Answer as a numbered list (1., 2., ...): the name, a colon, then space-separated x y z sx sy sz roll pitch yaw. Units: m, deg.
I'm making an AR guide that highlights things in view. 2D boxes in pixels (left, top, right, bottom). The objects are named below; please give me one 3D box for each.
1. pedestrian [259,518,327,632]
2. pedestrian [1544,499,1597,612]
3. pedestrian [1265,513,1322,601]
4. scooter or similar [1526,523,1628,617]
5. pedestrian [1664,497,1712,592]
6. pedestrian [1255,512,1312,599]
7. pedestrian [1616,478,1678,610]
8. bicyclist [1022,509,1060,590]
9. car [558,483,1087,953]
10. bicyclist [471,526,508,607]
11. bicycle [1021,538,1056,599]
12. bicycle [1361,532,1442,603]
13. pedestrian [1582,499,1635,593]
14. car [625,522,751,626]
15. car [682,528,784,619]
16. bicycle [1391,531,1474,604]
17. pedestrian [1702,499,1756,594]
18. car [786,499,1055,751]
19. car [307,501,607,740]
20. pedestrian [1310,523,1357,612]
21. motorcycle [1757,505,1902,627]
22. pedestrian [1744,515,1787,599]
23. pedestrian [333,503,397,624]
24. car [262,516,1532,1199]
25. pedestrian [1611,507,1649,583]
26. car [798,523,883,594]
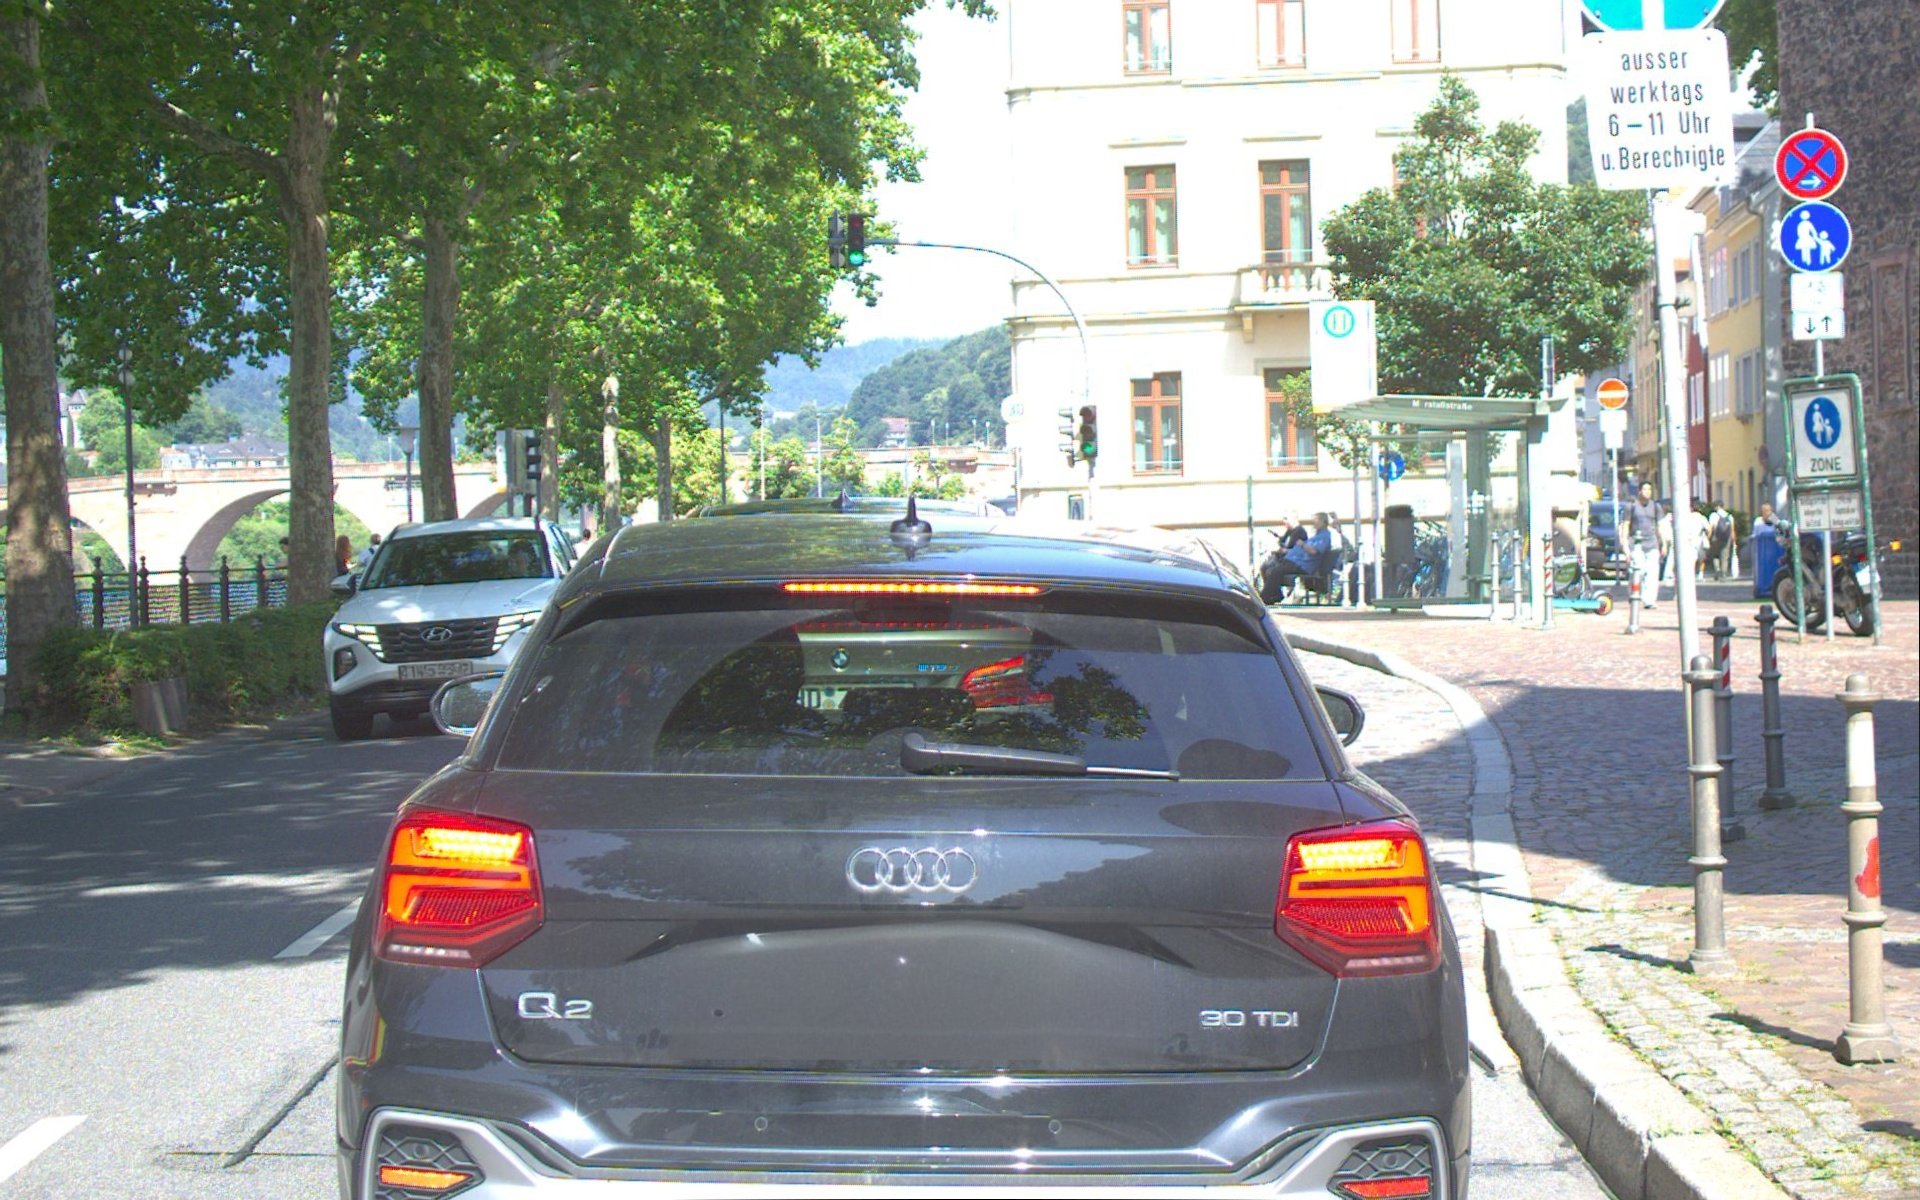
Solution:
1. pedestrian: -10.647 -0.402 54.895 0.911 1.805 0.585 1 0 4
2. pedestrian: 7.551 -0.547 42.538 0.557 1.380 0.588 1 0 2
3. pedestrian: 4.653 -0.598 48.023 0.663 1.207 0.641 1 0 -6
4. scooter or similar: 7.072 -0.339 39.404 1.088 1.062 0.323 1 0 -2
5. pedestrian: 15.480 -1.174 73.104 0.839 2.007 0.738 1 0 0
6. pedestrian: 4.592 -0.631 48.838 0.663 1.227 0.641 1 0 -6
7. pedestrian: 9.891 -0.804 49.512 0.747 1.884 0.752 1 0 2
8. bicyclist: 1.461 -0.909 62.027 0.605 1.445 0.591 1 0 -5
9. car: -0.494 0.369 13.506 1.793 1.589 3.399 1 1 -1
10. bicyclist: -7.633 -0.544 55.785 0.566 1.307 0.552 1 0 -5
11. bicycle: 1.416 -0.573 62.005 0.437 1.082 1.677 1 0 -5
12. bicycle: 6.361 -0.464 49.563 1.184 1.012 0.179 1 0 -19
13. pedestrian: 13.958 -1.157 74.003 0.944 2.007 0.807 1 0 0
14. car: -4.580 -0.471 58.418 1.738 1.566 4.092 -4 1 0
15. car: -4.914 -0.615 74.908 1.813 1.719 4.422 -6 1 0
16. bicycle: 6.734 -0.463 48.974 1.201 1.031 0.179 1 0 -19
17. pedestrian: 16.426 -1.140 73.444 0.940 2.007 0.807 1 0 0
18. car: -0.274 0.120 23.752 1.710 1.603 3.655 0 1 -1
19. car: -3.931 0.114 27.475 1.769 1.654 4.000 -4 1 -1
20. pedestrian: 6.336 -0.547 58.382 0.693 1.495 0.514 1 0 -4
21. motorcycle: 7.597 -0.314 30.138 0.566 1.009 2.490 -1 1 -2
22. pedestrian: 15.822 -0.847 67.537 0.691 1.607 0.890 -2 1 18
23. pedestrian: -9.984 -0.609 57.703 0.911 2.007 0.585 1 0 4
24. car: -0.113 0.608 6.586 1.743 1.504 3.647 1 1 -1
25. pedestrian: 13.691 -1.122 70.255 0.622 1.526 0.466 1 0 -8
26. car: -3.105 -1.086 89.938 1.993 1.800 4.000 1 0 1
